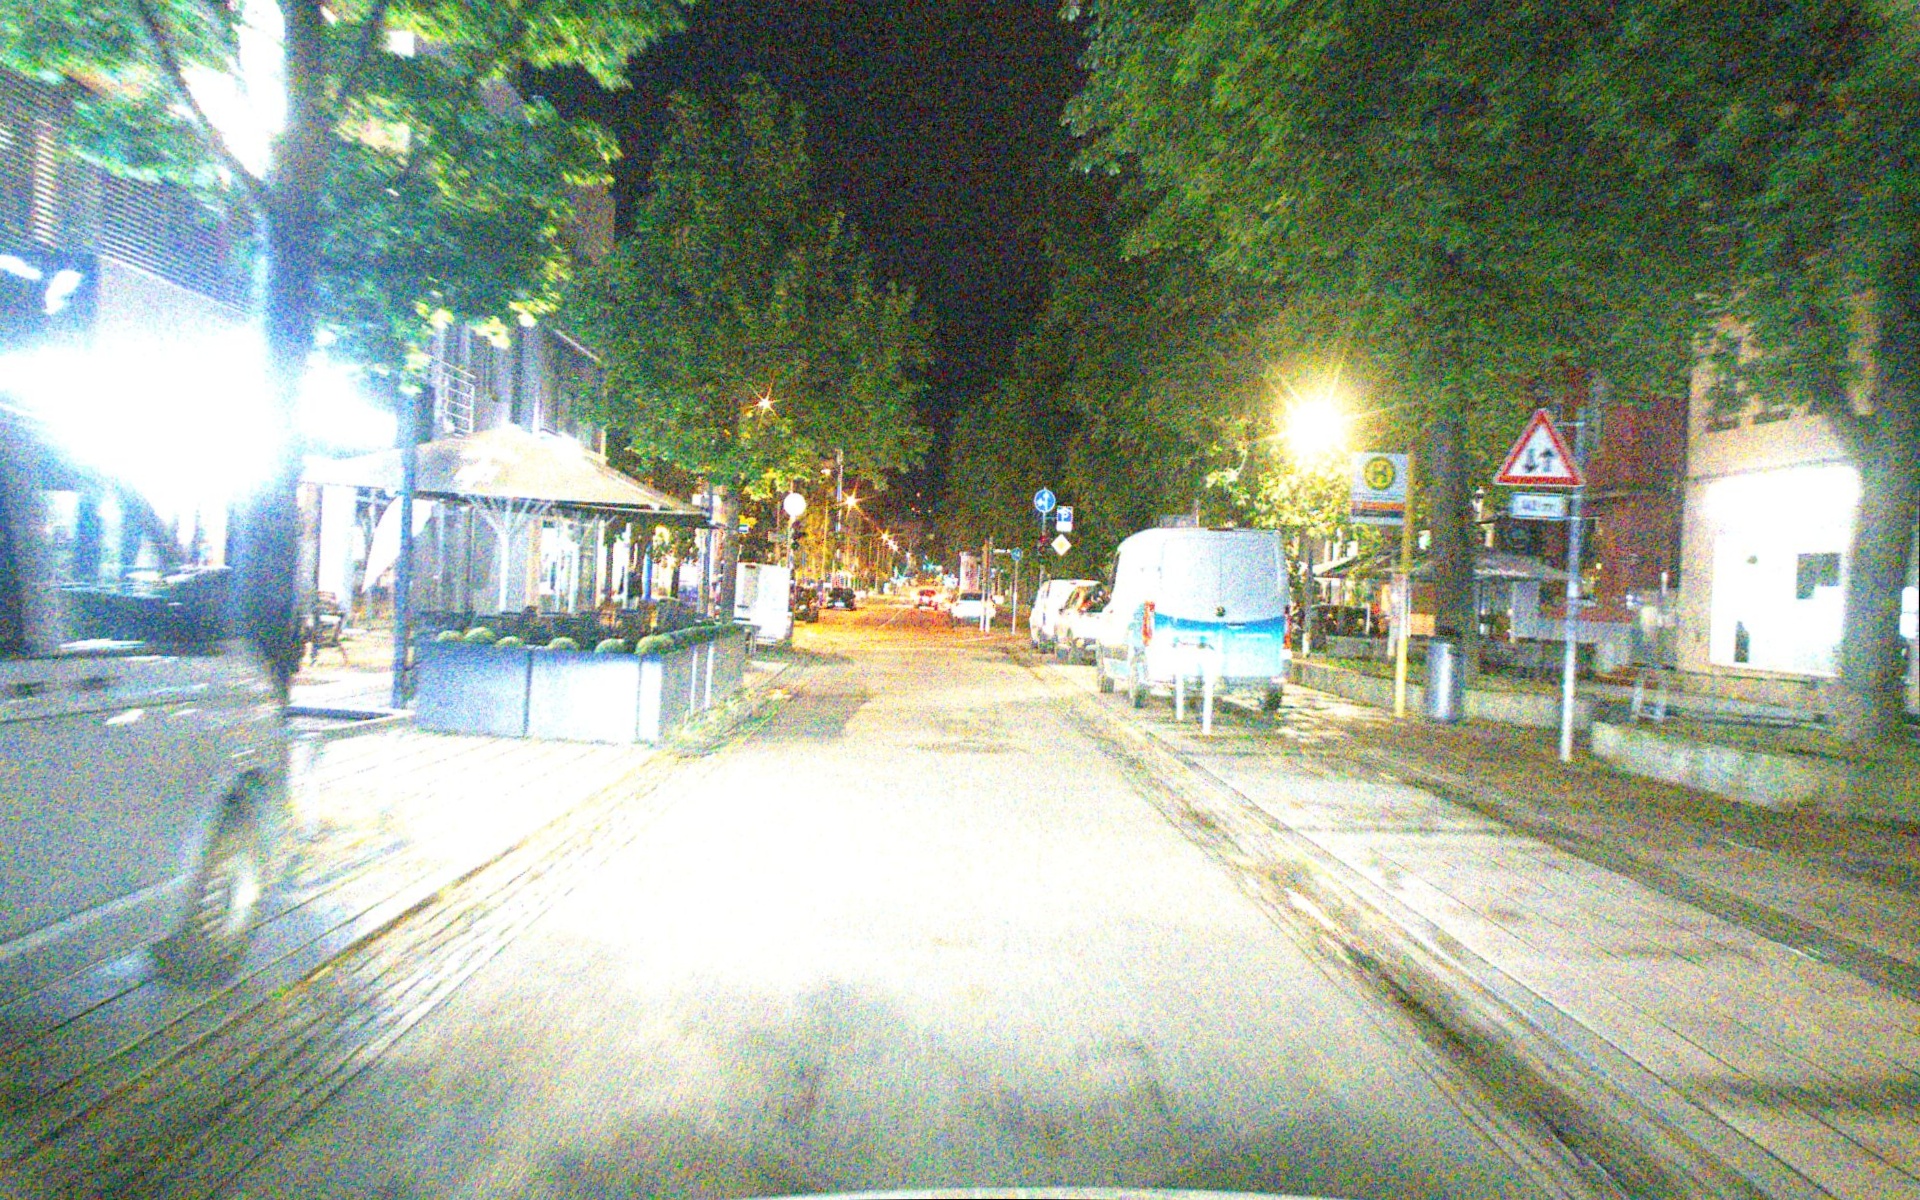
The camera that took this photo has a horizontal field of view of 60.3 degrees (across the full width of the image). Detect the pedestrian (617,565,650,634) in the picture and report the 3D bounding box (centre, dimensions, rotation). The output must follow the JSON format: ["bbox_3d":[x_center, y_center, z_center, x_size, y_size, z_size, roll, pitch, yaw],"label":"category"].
[{"bbox_3d":[-8.466,-0.026,42.906,0.655,1.749,0.908,2,0,-1],"label":"pedestrian"}]

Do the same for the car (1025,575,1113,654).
[{"bbox_3d":[2.711,0.331,42.073,1.753,1.854,4.578,2,0,-2],"label":"car"}]

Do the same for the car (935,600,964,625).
[{"bbox_3d":[-0.655,0.752,102.052,1.728,1.439,4.807,2,0,0],"label":"car"}]

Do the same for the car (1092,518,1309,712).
[{"bbox_3d":[3.220,0.174,23.313,2.091,2.367,5.150,2,0,-2],"label":"car"}]

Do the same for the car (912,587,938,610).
[{"bbox_3d":[-2.673,-0.128,126.755,1.953,1.672,3.999,1,0,-1],"label":"car"}]

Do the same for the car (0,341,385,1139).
[{"bbox_3d":[-3.322,0.307,4.331,1.886,1.999,5.075,4,0,-2],"label":"car"}]

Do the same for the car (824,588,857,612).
[{"bbox_3d":[-7.767,-0.039,107.784,1.706,1.438,4.495,3,0,0],"label":"car"}]

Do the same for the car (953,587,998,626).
[{"bbox_3d":[0.632,0.240,69.527,1.781,1.526,3.999,2,0,-1],"label":"car"}]

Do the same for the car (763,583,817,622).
[{"bbox_3d":[-7.135,0.072,69.846,1.770,1.449,4.920,4,0,-1],"label":"car"}]

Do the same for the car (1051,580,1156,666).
[{"bbox_3d":[3.055,0.454,35.960,1.650,1.688,4.295,2,0,-3],"label":"car"}]

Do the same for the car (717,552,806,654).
[{"bbox_3d":[-4.671,0.045,39.188,1.817,2.123,5.084,4,0,-6],"label":"car"}]
